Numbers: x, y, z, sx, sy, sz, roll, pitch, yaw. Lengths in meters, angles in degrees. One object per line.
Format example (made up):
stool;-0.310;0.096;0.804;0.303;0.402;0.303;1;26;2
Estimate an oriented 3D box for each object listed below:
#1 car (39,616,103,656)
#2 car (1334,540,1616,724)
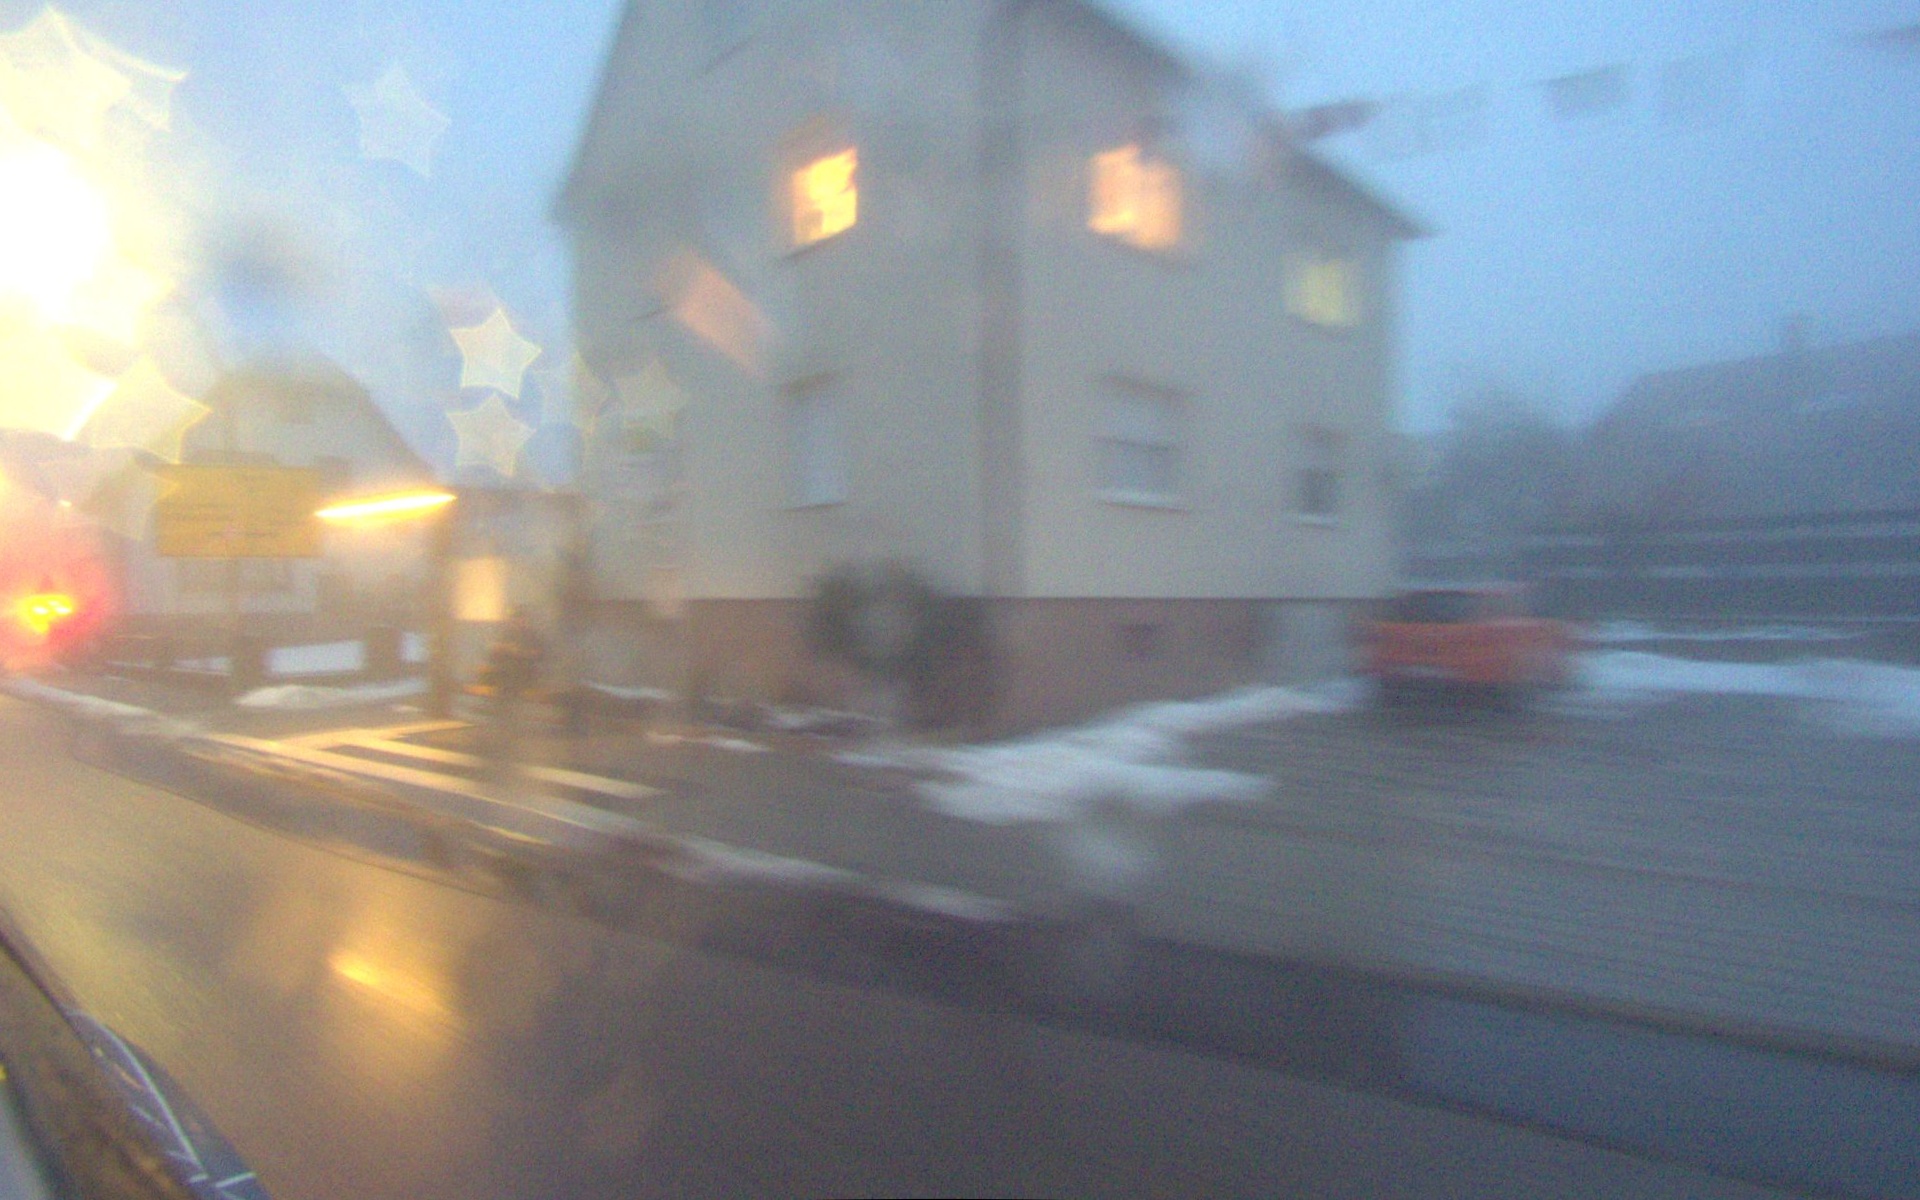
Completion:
car;-39.369;1.552;44.881;1.969;1.534;4.197;-4;2;-41
car;6.199;0.225;12.006;1.914;1.804;3.774;1;4;45
